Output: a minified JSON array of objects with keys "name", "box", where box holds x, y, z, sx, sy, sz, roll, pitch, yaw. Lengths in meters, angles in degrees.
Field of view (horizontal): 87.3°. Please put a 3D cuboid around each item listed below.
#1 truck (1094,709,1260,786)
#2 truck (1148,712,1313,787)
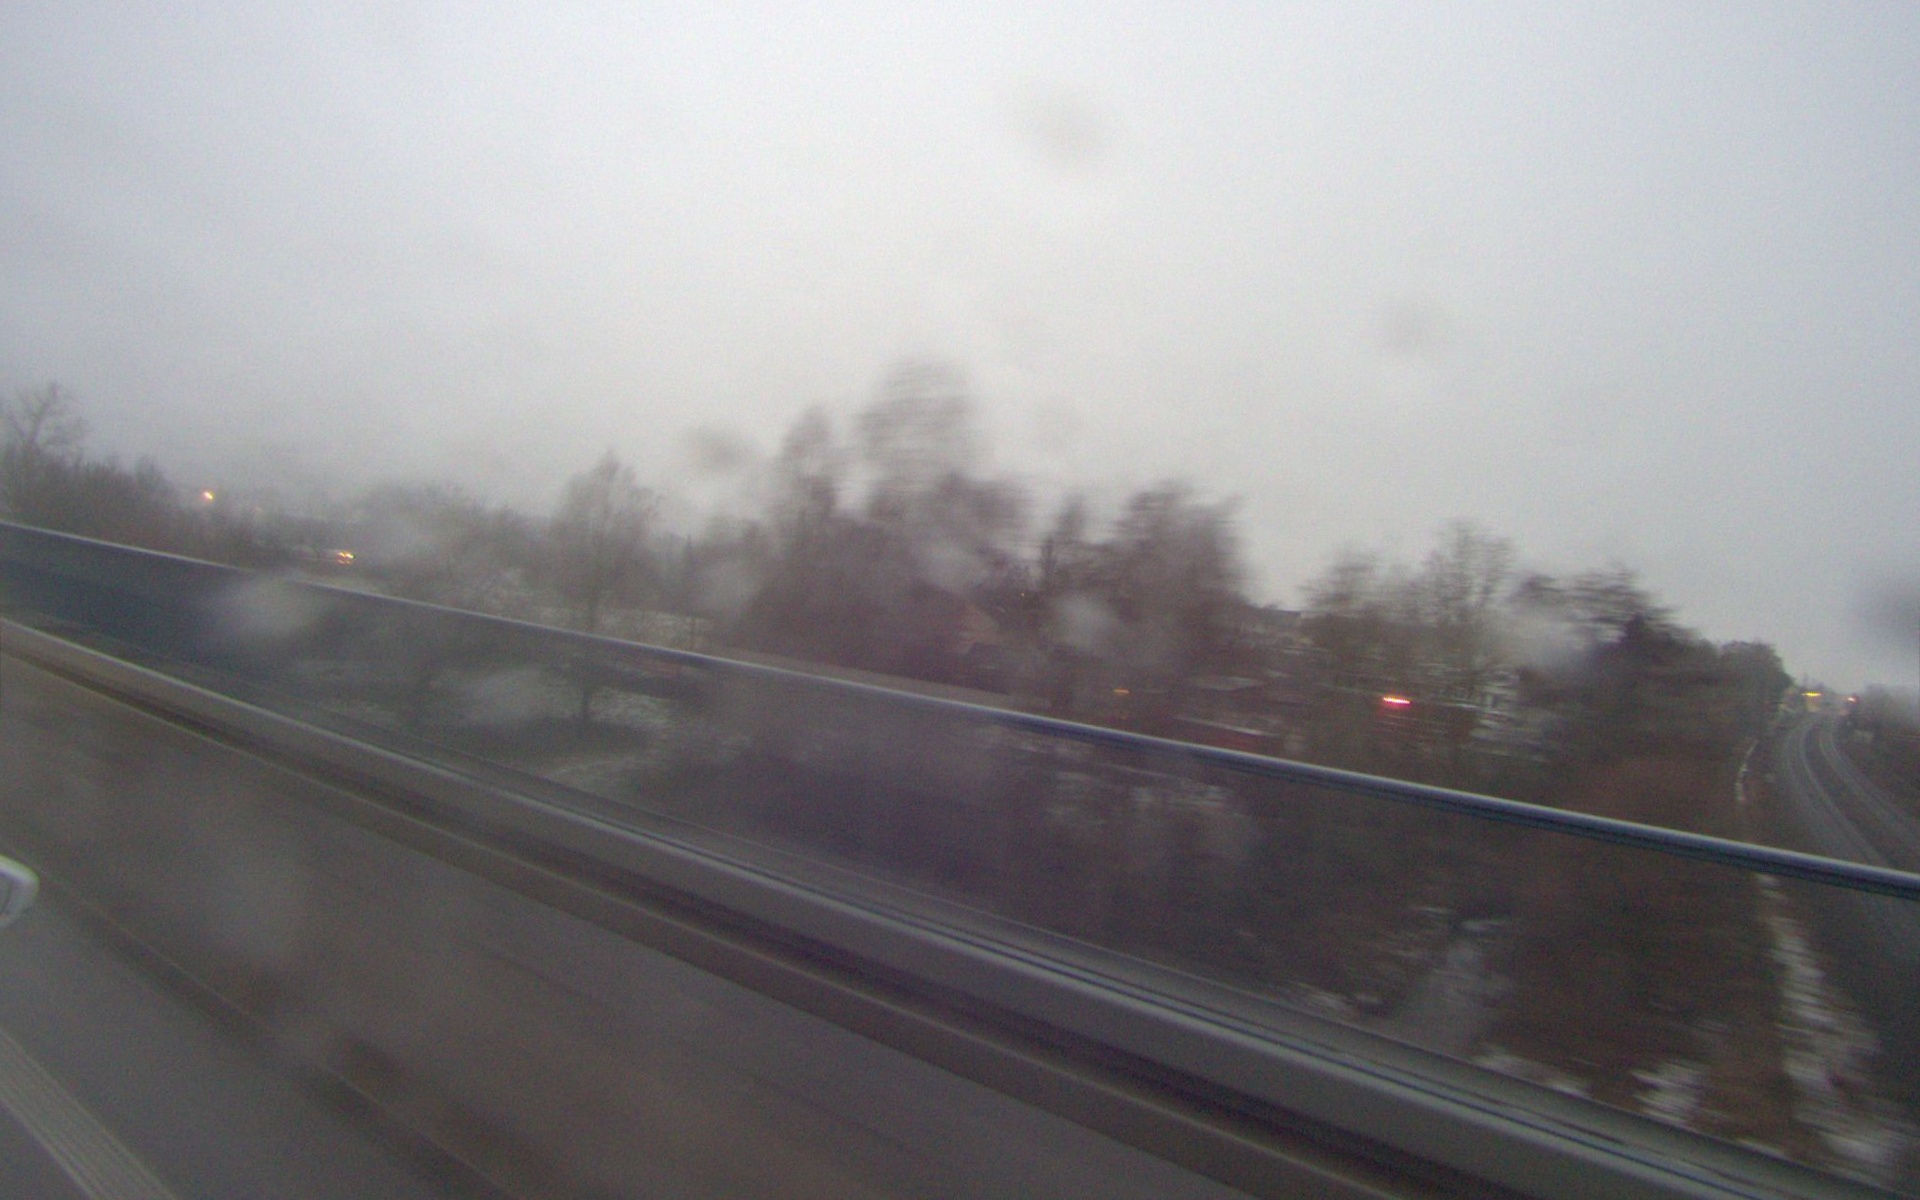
[{"name":"truck","box":[14.115,9.508,65.901,9.983,3.270,2.791,6,-2,31]},{"name":"truck","box":[18.020,9.904,67.439,9.983,3.270,2.791,6,-2,31]}]
